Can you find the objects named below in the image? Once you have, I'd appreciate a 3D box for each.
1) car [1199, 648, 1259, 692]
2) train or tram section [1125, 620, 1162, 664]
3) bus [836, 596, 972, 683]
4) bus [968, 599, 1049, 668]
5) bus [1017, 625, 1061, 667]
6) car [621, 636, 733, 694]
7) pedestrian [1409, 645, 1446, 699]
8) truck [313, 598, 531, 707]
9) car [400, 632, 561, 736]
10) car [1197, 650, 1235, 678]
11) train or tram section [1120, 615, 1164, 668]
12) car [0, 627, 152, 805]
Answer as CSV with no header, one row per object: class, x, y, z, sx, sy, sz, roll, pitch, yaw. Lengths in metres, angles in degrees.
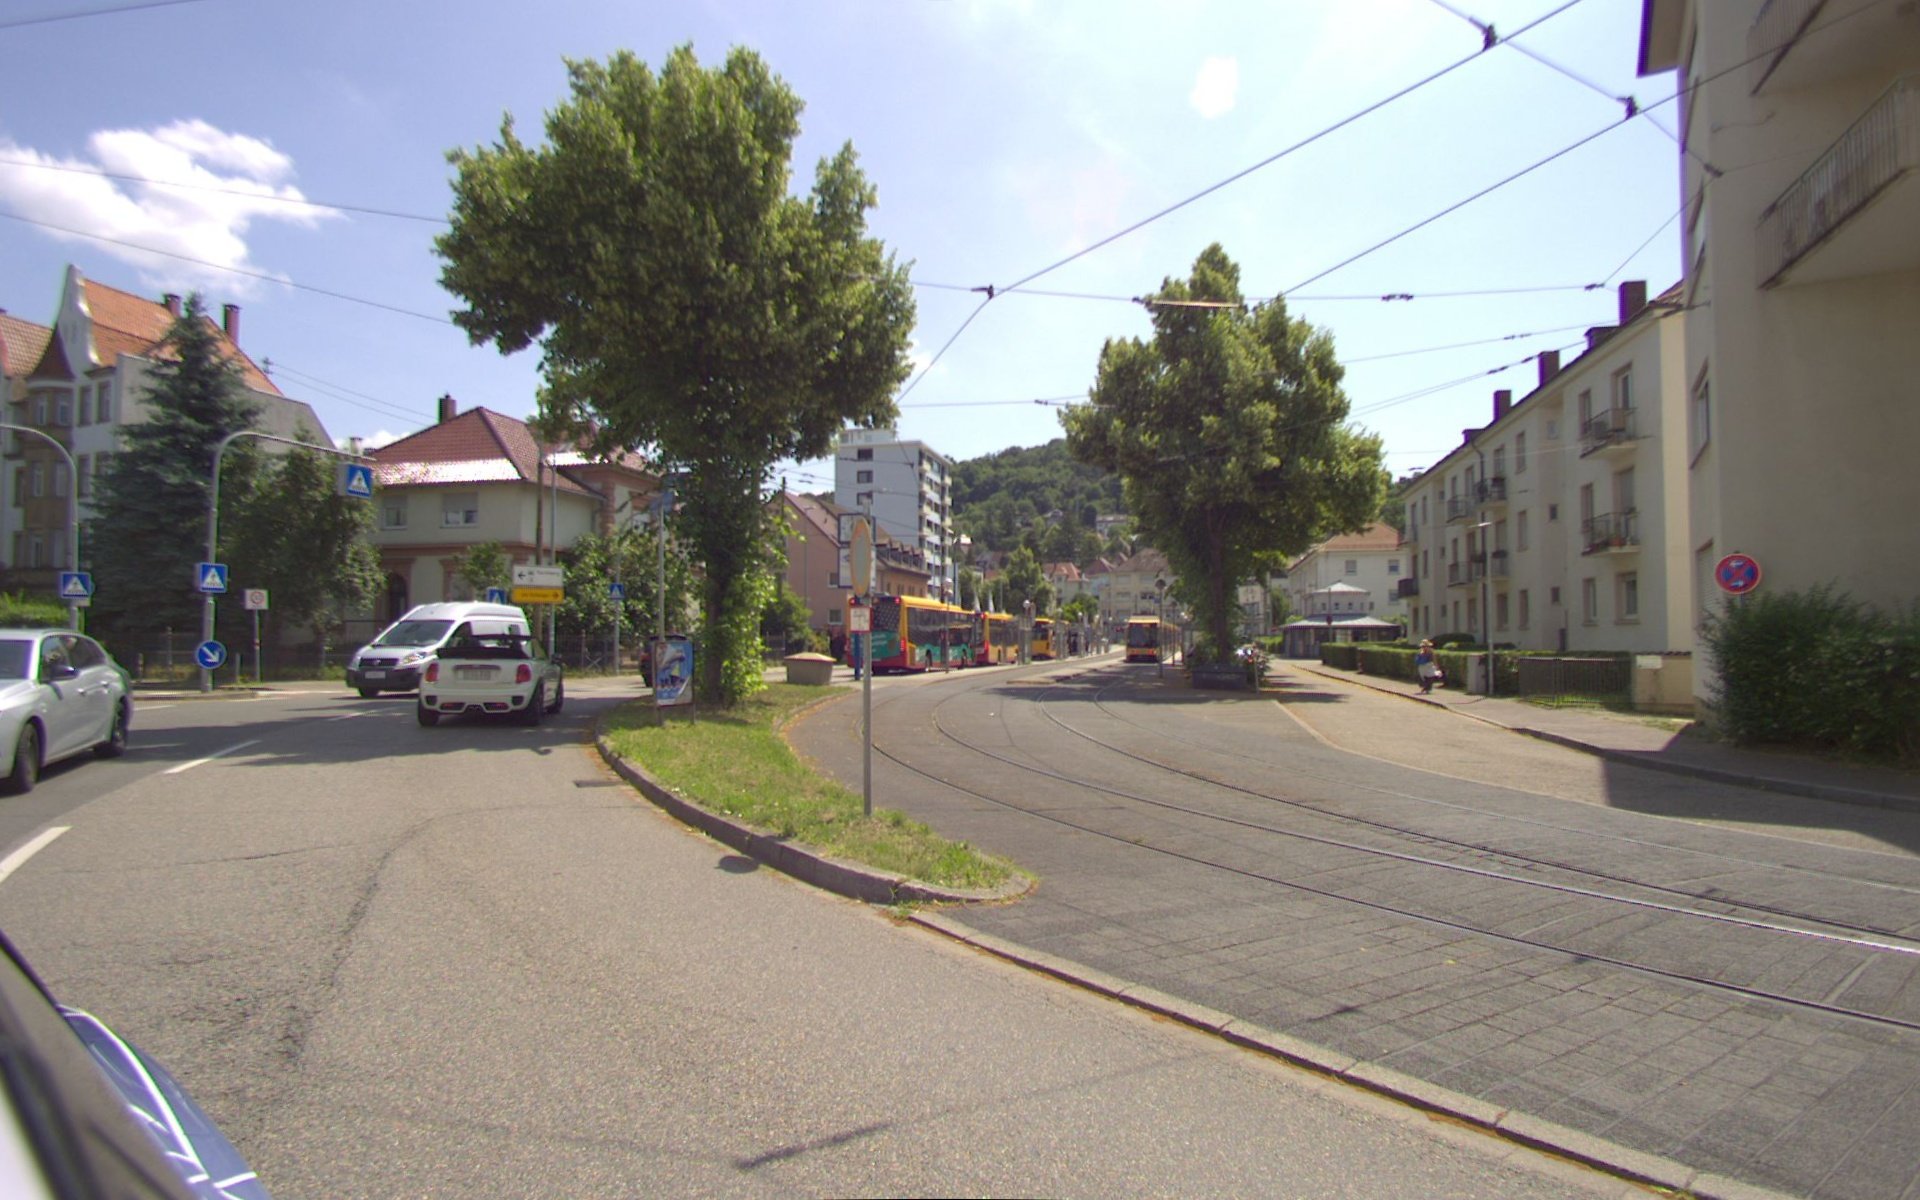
car,9.657,2.482,36.596,1.825,1.494,3.941,-1,-3,11
train or tram section,16.142,3.693,88.841,2.868,3.547,13.853,-1,-2,11
bus,-2.150,1.837,44.374,2.684,3.322,10.802,-2,-3,15
bus,3.114,2.103,60.115,2.670,3.635,12.154,-1,-3,13
bus,6.626,3.839,83.564,2.549,3.213,10.118,-1,-3,11
car,-8.519,1.968,30.894,1.839,1.644,4.320,0,-3,6
pedestrian,13.834,2.113,29.961,0.769,1.572,0.741,-1,-3,11
truck,-12.400,1.259,23.883,1.995,2.266,5.400,-1,-3,4
car,-7.632,1.264,16.453,1.749,1.475,3.758,1,-2,-16
car,14.238,3.536,56.389,1.825,1.494,3.859,-1,-3,11
train or tram section,13.582,3.091,75.218,2.868,3.547,13.853,-1,-2,11
car,-9.437,0.998,9.548,1.771,1.477,4.185,1,-2,-23
